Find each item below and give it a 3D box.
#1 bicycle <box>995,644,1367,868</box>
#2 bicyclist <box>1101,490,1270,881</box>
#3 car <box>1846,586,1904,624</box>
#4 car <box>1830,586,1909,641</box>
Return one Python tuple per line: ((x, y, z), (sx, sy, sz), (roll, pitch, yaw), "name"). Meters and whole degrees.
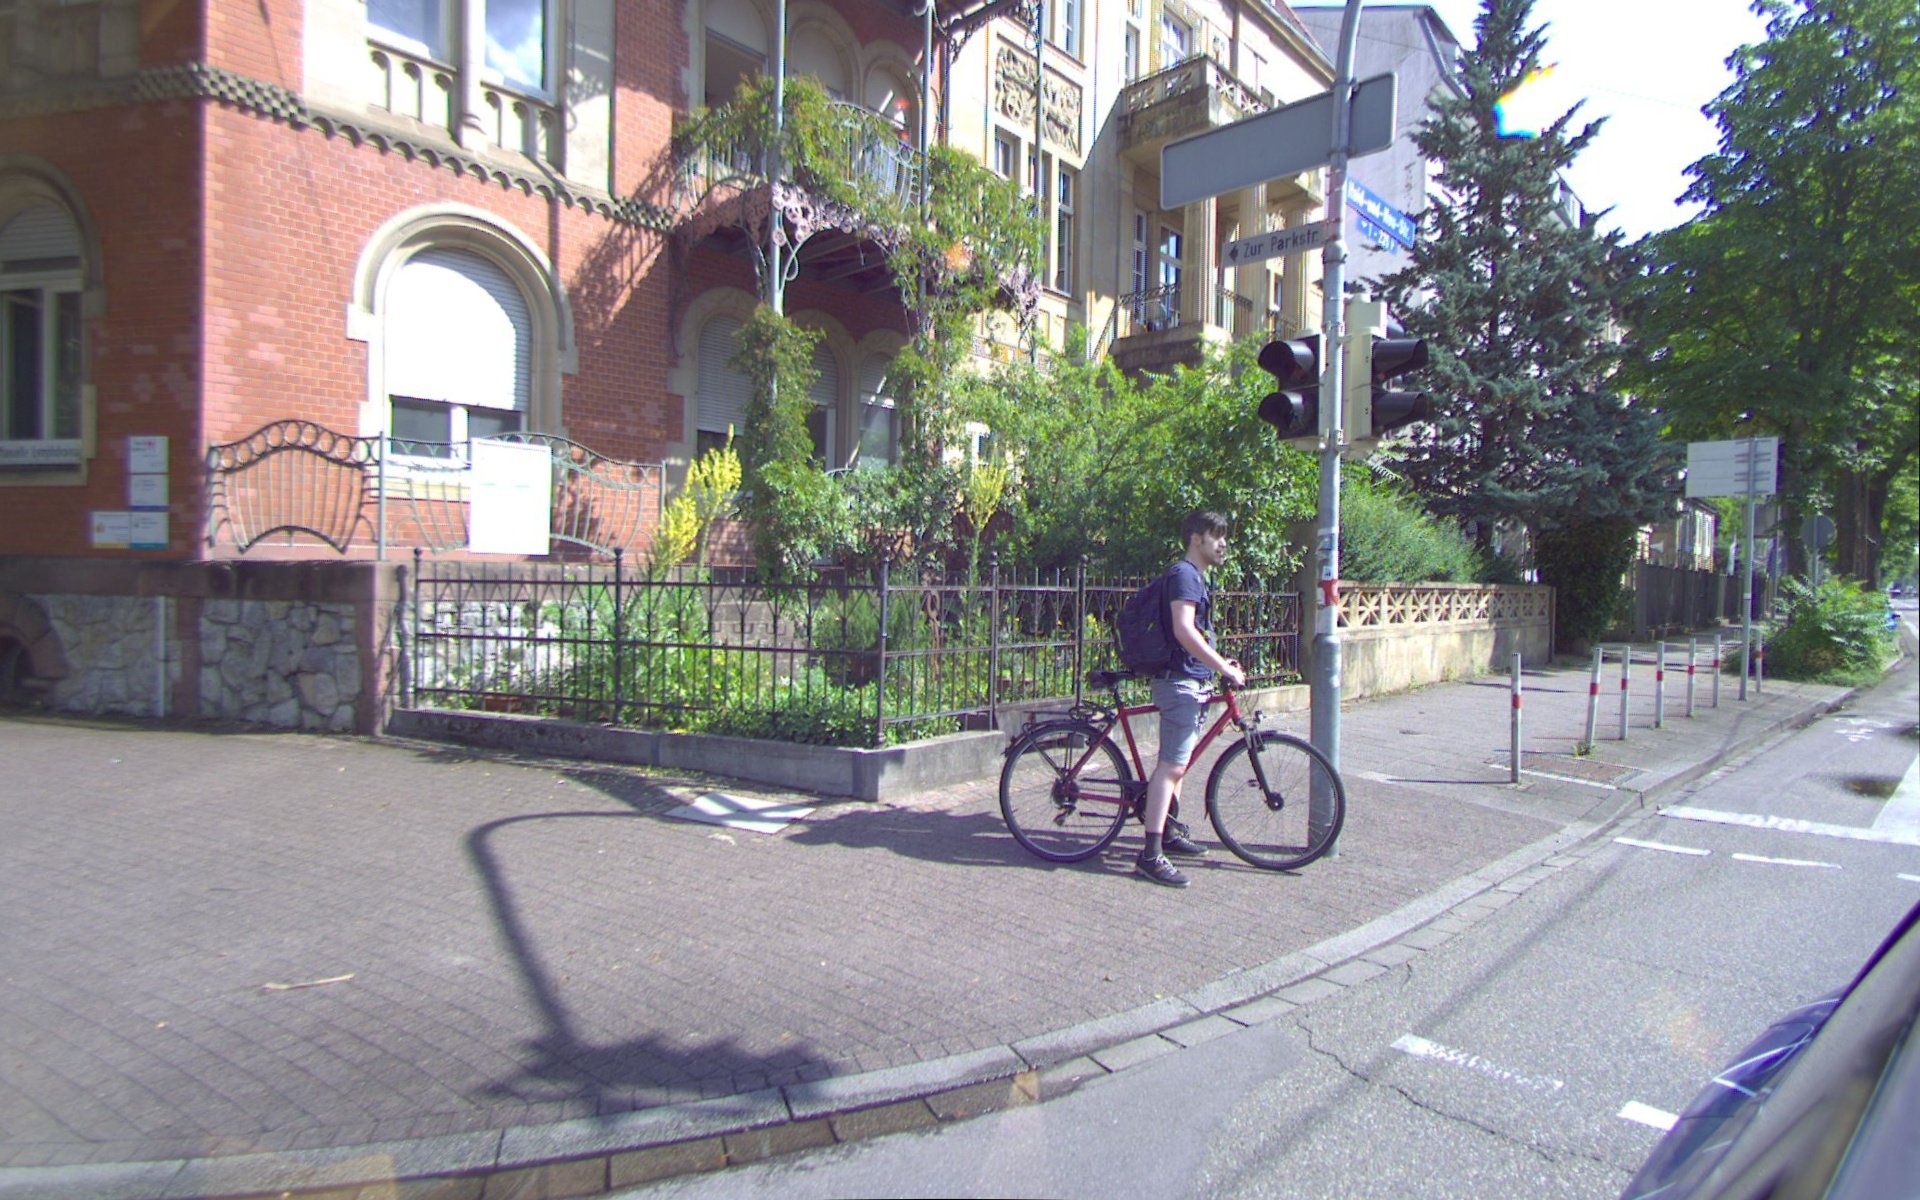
((1.109, 0.789, 5.240), (1.810, 1.048, 0.390), (1, 1, -1), "bicycle")
((1.197, 0.389, 5.287), (0.726, 1.842, 0.815), (1, 1, 21), "bicyclist")
((39.880, 0.183, 44.072), (1.720, 1.469, 3.864), (5, 4, 44), "car")
((27.598, 0.354, 30.702), (1.638, 1.473, 3.642), (4, 3, 42), "car")
